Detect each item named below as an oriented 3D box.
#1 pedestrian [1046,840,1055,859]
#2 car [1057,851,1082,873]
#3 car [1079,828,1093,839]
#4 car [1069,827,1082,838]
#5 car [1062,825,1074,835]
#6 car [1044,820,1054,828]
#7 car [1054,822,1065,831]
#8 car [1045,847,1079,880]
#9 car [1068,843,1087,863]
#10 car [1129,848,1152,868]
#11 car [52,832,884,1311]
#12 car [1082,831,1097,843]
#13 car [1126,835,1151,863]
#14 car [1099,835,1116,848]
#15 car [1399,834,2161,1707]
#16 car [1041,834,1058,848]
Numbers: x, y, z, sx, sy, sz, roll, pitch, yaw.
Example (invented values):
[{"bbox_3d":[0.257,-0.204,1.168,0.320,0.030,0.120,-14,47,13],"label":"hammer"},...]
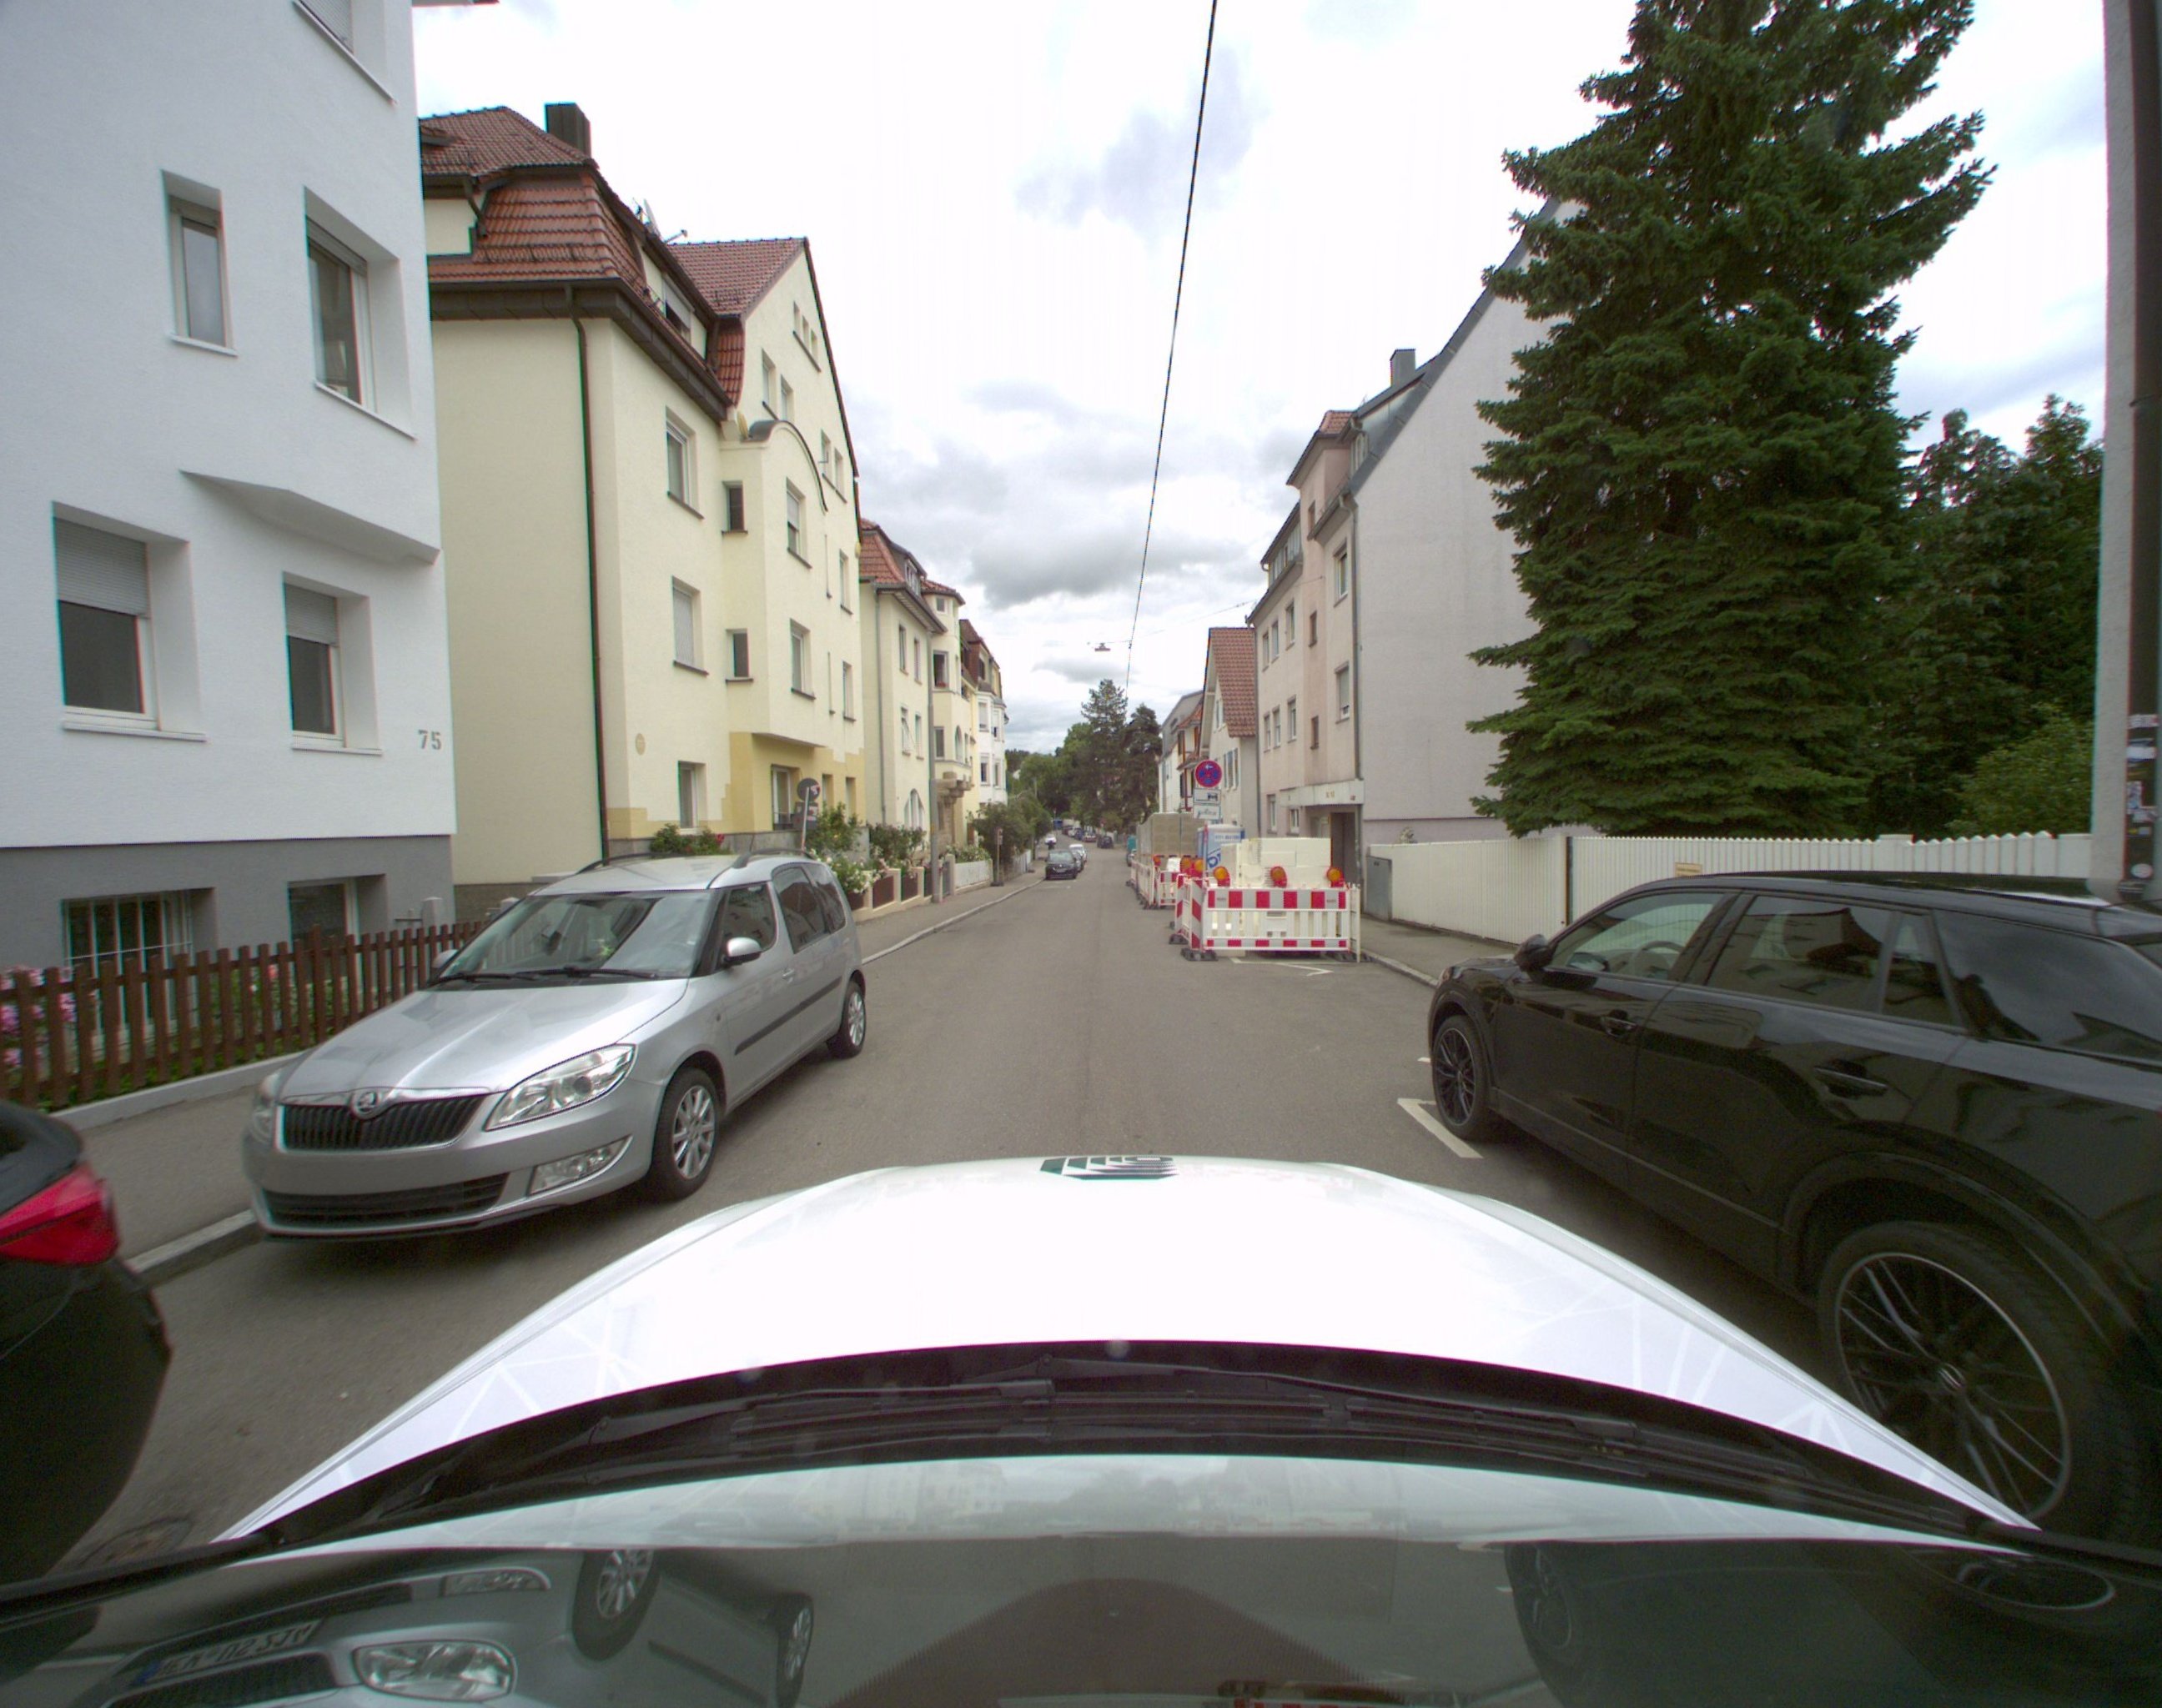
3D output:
[{"bbox_3d":[-3.039,-0.453,81.720,0.788,1.932,0.920,0,1,4],"label":"pedestrian"},{"bbox_3d":[-0.795,0.568,59.424,1.637,1.416,3.984,-2,1,1],"label":"car"},{"bbox_3d":[0.662,-3.040,120.734,1.633,1.483,3.522,0,4,-8],"label":"car"},{"bbox_3d":[-0.862,-3.425,126.856,1.633,1.537,3.522,0,4,-8],"label":"car"},{"bbox_3d":[-2.094,-3.873,132.577,1.633,1.537,3.522,0,4,-8],"label":"car"},{"bbox_3d":[-6.225,-5.800,157.323,1.633,1.537,3.522,0,4,-8],"label":"car"},{"bbox_3d":[-3.873,-4.994,147.142,1.633,1.537,3.522,0,4,-8],"label":"car"},{"bbox_3d":[-1.144,0.540,48.867,1.840,1.815,4.542,-2,0,-1],"label":"car"},{"bbox_3d":[-0.315,-0.088,77.745,1.667,1.656,3.865,-2,3,1],"label":"car"},{"bbox_3d":[4.907,0.316,67.524,1.719,1.448,3.881,-1,1,1],"label":"car"},{"bbox_3d":[-2.663,0.738,5.008,1.839,1.631,4.285,-1,1,0],"label":"car"},{"bbox_3d":[1.237,-2.400,116.196,1.633,1.483,3.522,0,4,-8],"label":"car"},{"bbox_3d":[5.170,-0.492,73.957,1.973,2.362,4.278,-1,1,1],"label":"car"},{"bbox_3d":[3.379,-1.590,104.375,1.632,1.483,3.524,0,4,-6],"label":"car"},{"bbox_3d":[2.843,0.731,3.213,1.708,1.565,4.075,0,1,2],"label":"car"},{"bbox_3d":[-4.368,-1.840,113.627,1.673,1.656,3.849,-3,3,-11],"label":"car"}]
